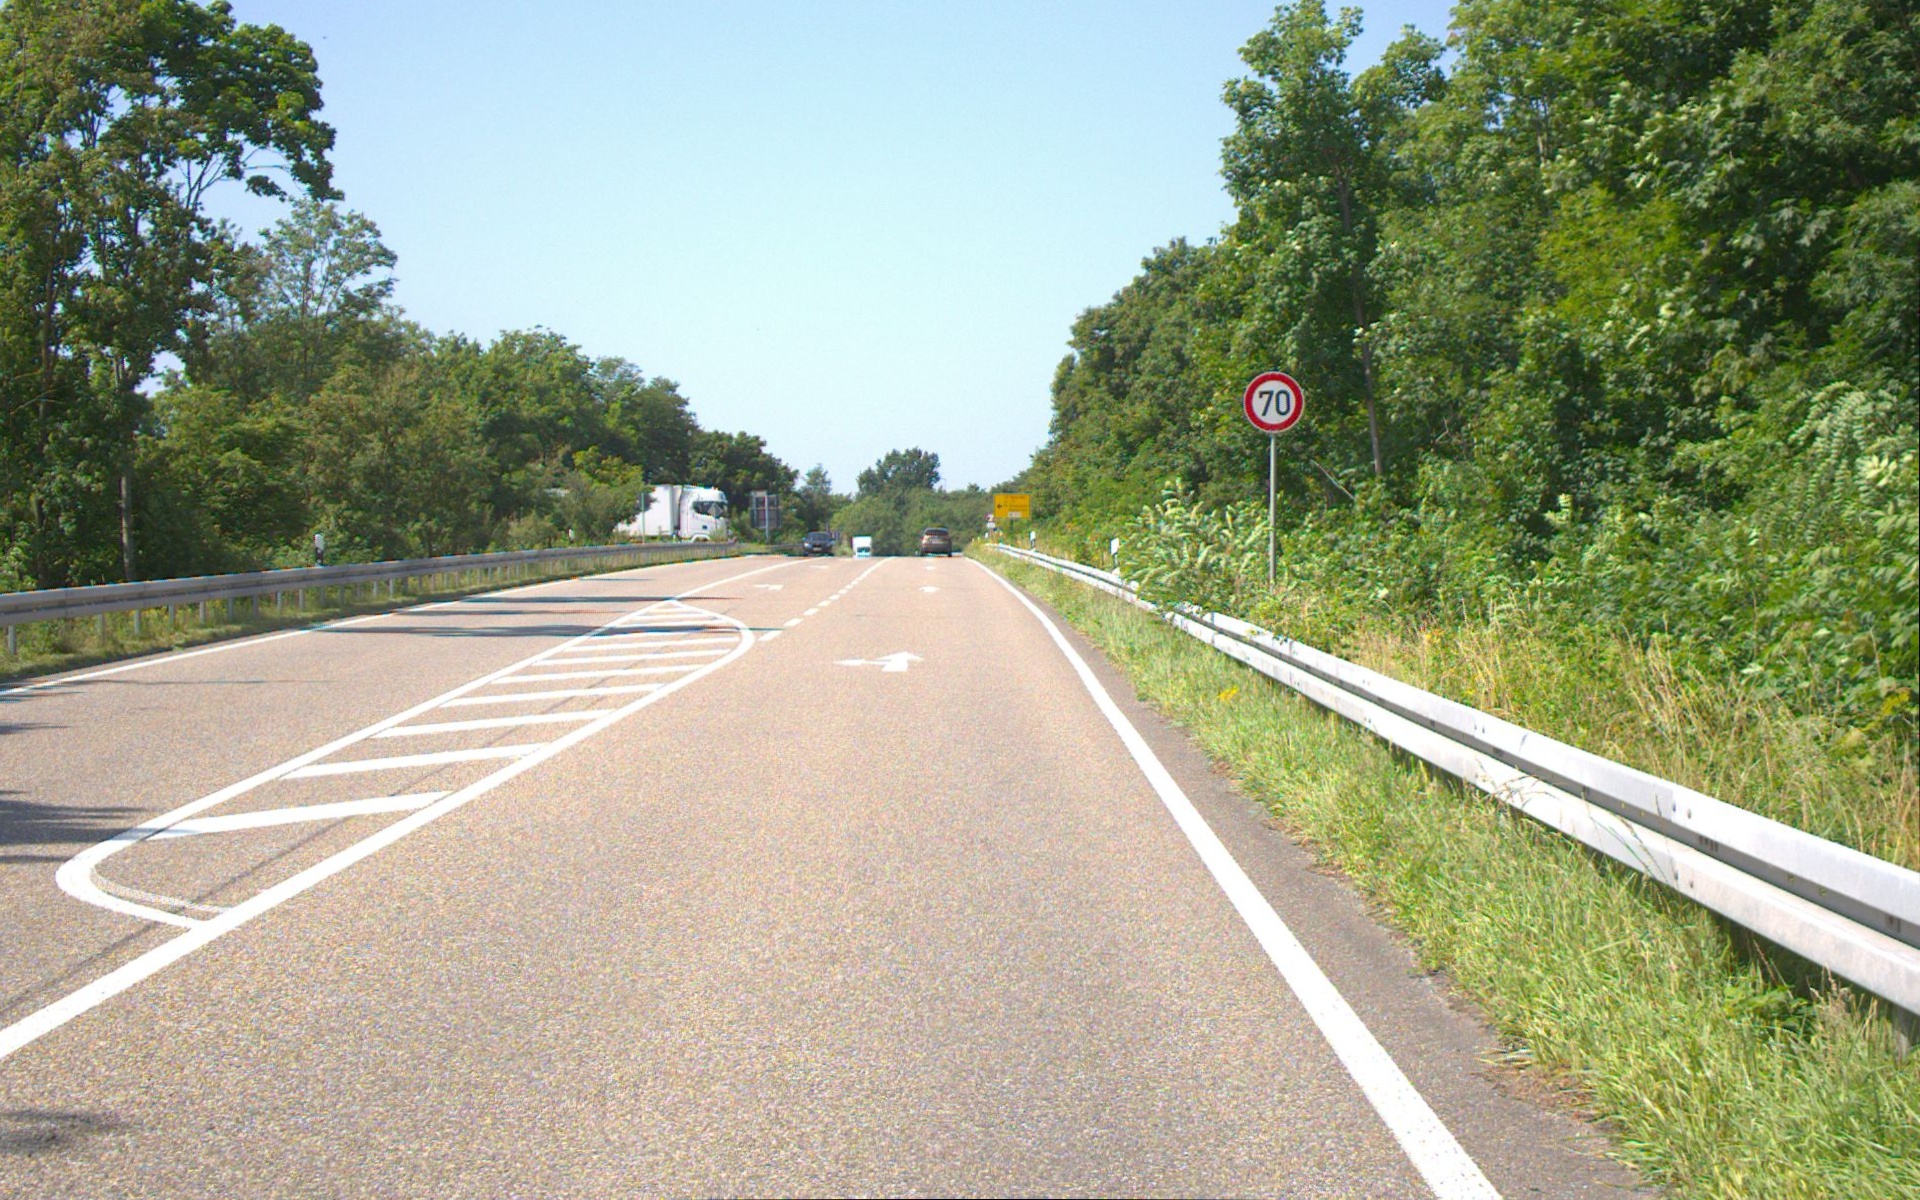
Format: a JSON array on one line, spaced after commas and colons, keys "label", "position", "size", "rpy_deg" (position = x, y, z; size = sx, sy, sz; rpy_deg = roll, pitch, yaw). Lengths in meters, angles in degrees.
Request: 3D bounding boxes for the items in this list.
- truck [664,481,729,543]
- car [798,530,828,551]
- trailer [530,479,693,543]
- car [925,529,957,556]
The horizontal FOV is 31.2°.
[{"label": "truck", "position": [-15.137, -5.041, 197.654], "size": [3.465, 3.525, 2.000], "rpy_deg": [1, 1, 1]}, {"label": "car", "position": [-9.158, -3.727, 214.289], "size": [1.730, 1.263, 3.905], "rpy_deg": [1, 1, 0]}, {"label": "trailer", "position": [-20.039, -5.096, 197.807], "size": [9.102, 3.566, 2.000], "rpy_deg": [1, 1, 1]}, {"label": "car", "position": [-1.054, -3.187, 189.347], "size": [1.741, 1.465, 3.693], "rpy_deg": [1, 1, 0]}]
